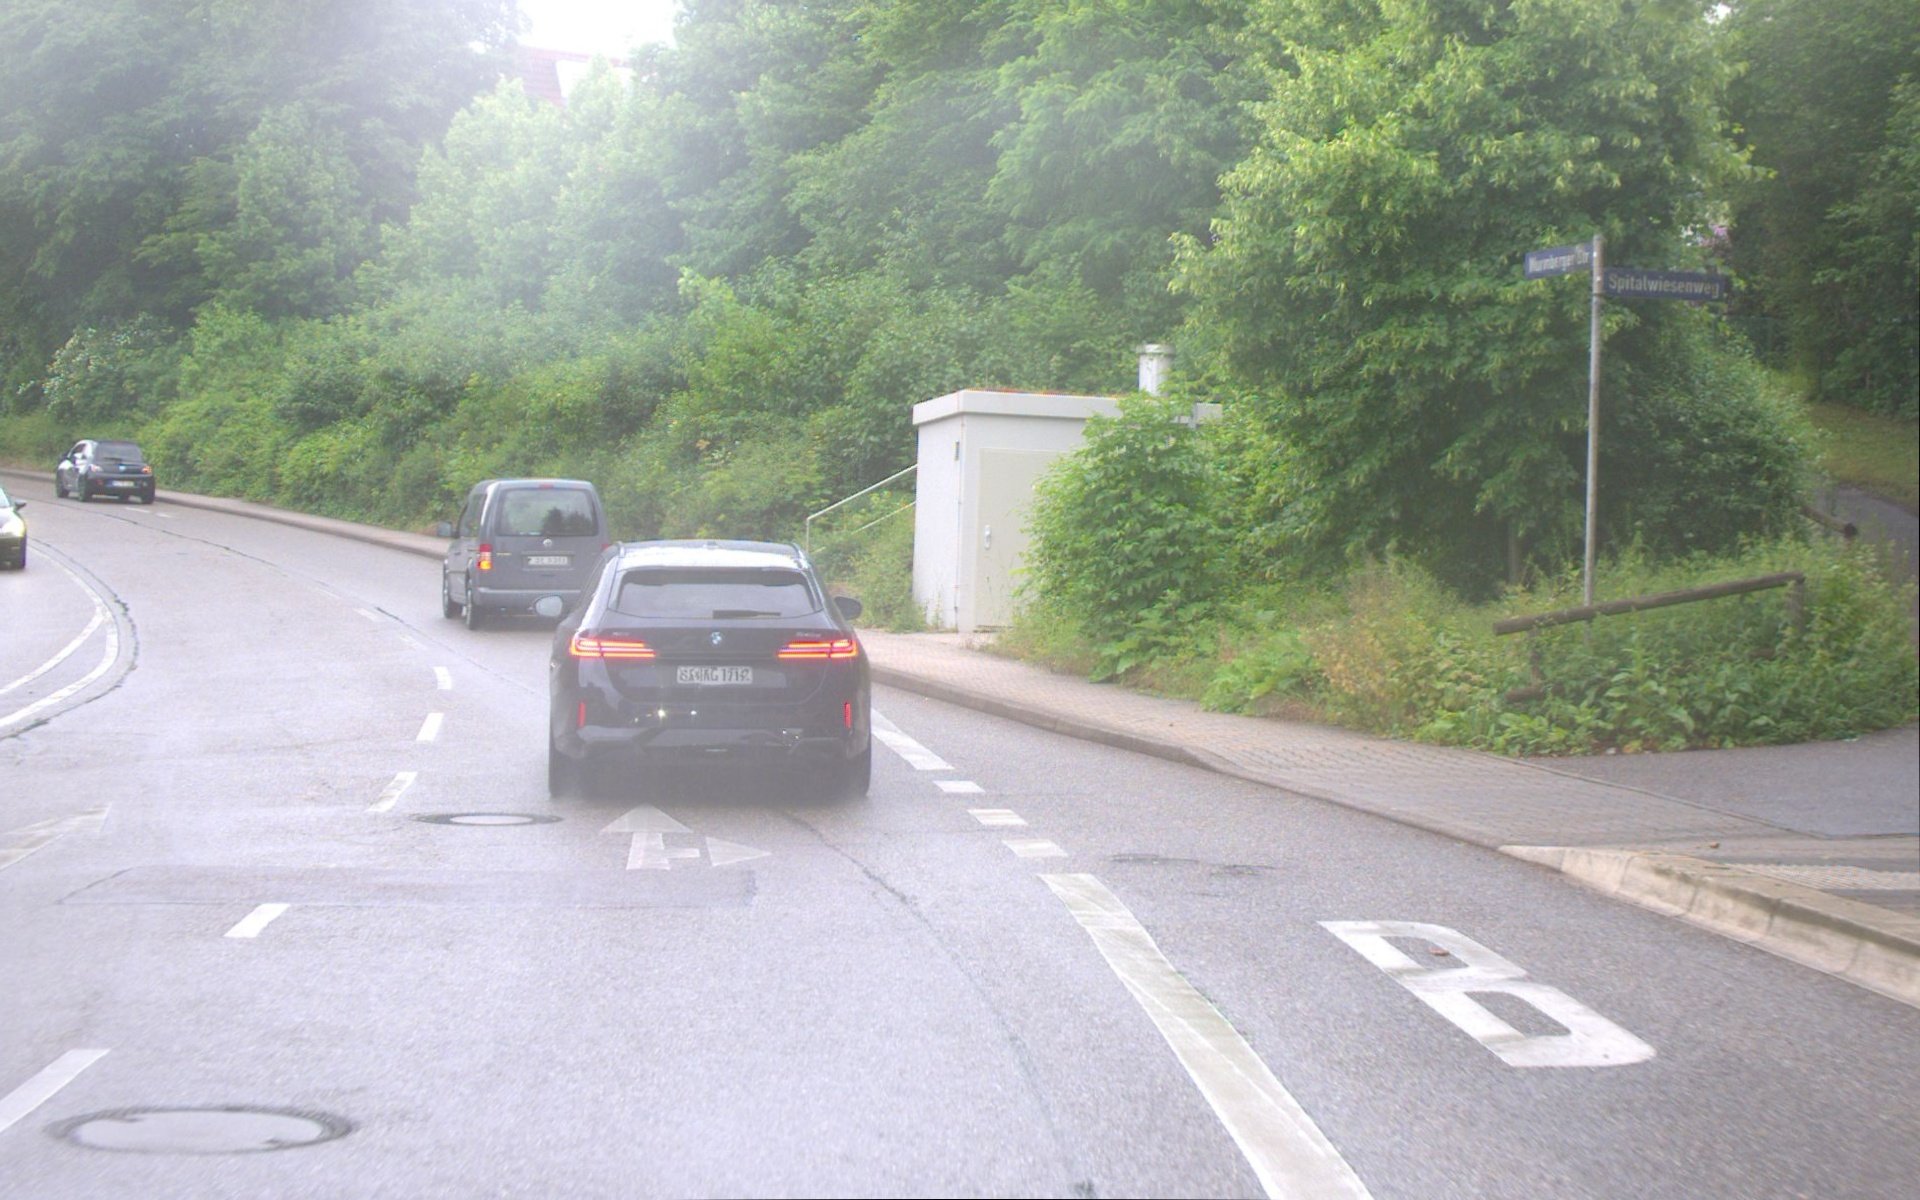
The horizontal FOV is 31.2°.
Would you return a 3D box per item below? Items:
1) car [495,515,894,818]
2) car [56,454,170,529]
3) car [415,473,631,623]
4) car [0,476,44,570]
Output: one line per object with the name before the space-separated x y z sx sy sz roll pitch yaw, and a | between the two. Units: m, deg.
car | -1.759 0.313 21.131 1.993 1.580 4.665 2 1 -9
car | -20.062 -2.539 81.311 1.851 1.656 4.001 2 0 -25
car | -5.437 -0.680 42.409 1.993 1.742 4.002 0 2 -17
car | -15.971 -1.249 55.887 1.891 1.482 4.235 0 1 -18
